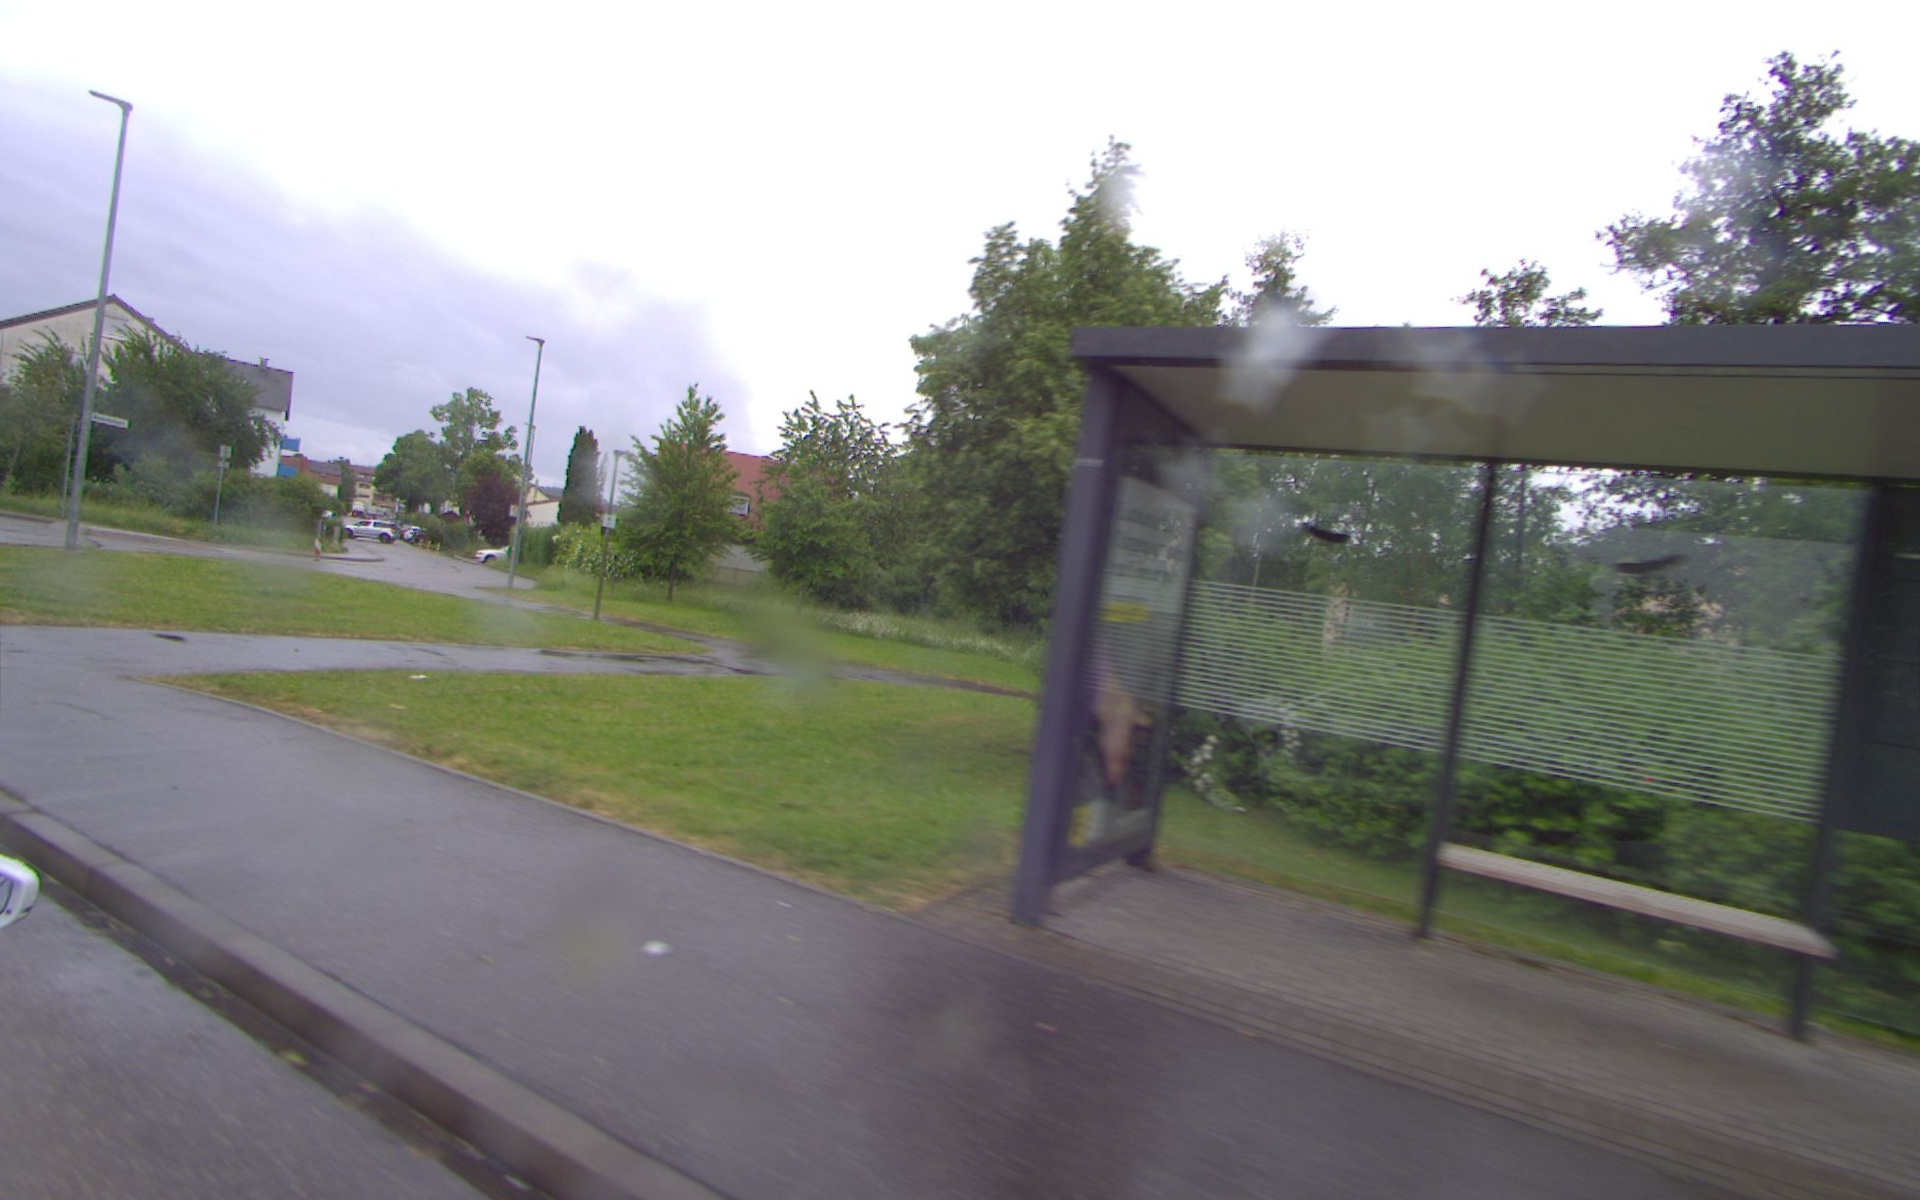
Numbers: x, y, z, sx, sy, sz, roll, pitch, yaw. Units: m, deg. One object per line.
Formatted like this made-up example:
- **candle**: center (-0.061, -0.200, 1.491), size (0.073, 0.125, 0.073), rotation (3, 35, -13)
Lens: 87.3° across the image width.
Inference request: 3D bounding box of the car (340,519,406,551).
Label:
- **car**: center (-45.197, -4.954, 77.555), size (3.942, 1.849, 1.889), rotation (7, 0, -19)

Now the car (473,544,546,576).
- **car**: center (-28.825, -2.558, 64.437), size (3.962, 1.390, 1.769), rotation (9, -1, -32)

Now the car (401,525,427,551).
- **car**: center (-48.276, -5.427, 88.945), size (1.569, 2.038, 3.975), rotation (7, 0, -25)
